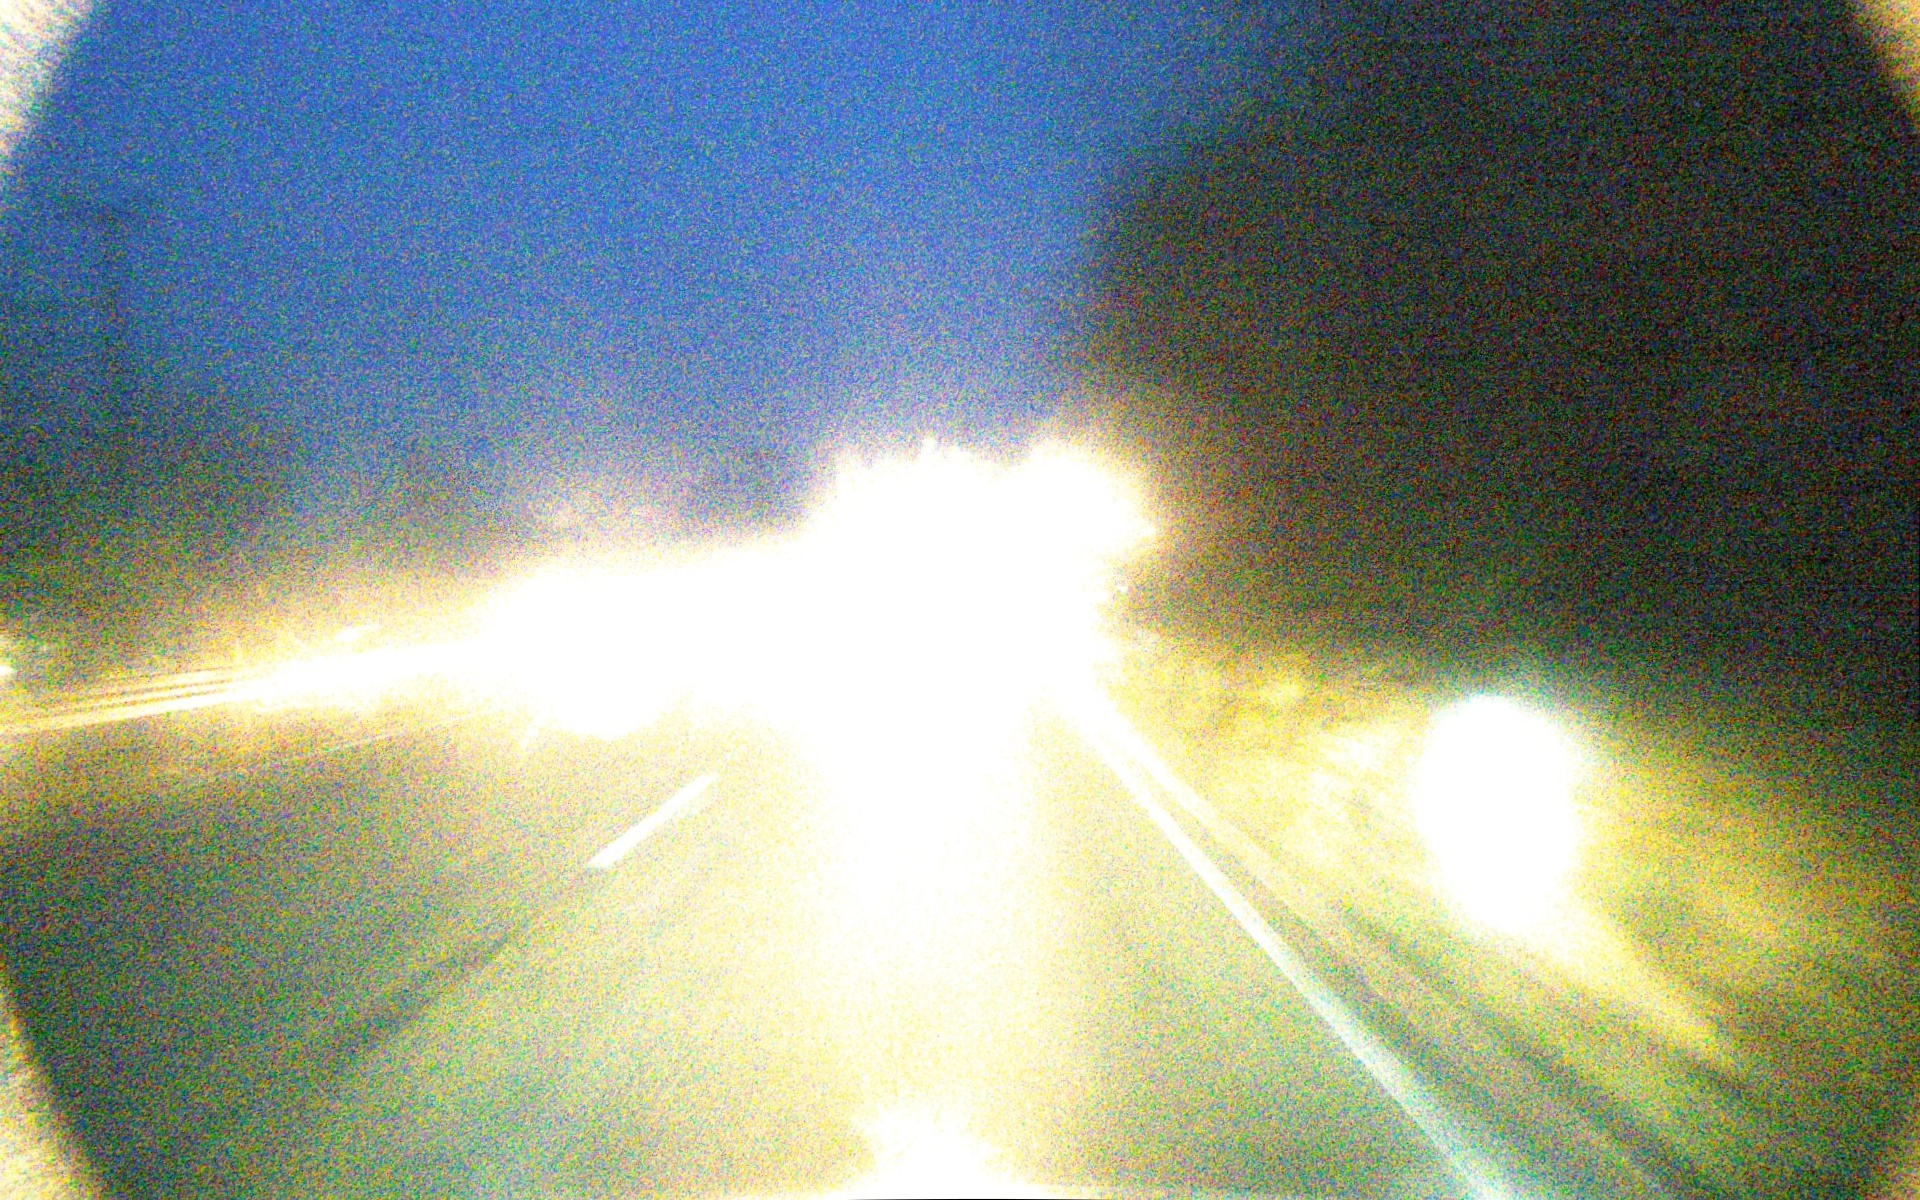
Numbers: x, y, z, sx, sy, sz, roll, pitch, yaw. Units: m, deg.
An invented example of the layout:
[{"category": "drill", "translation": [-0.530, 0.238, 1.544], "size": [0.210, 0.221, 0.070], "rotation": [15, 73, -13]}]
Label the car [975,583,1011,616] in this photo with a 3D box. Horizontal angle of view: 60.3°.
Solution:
[{"category": "car", "translation": [1.906, -0.028, 96.229], "size": [1.953, 1.684, 4.001], "rotation": [-3, 2, 1]}]

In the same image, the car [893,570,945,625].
[{"category": "car", "translation": [-1.424, -0.111, 58.816], "size": [1.721, 1.900, 4.000], "rotation": [0, 1, 0]}]
